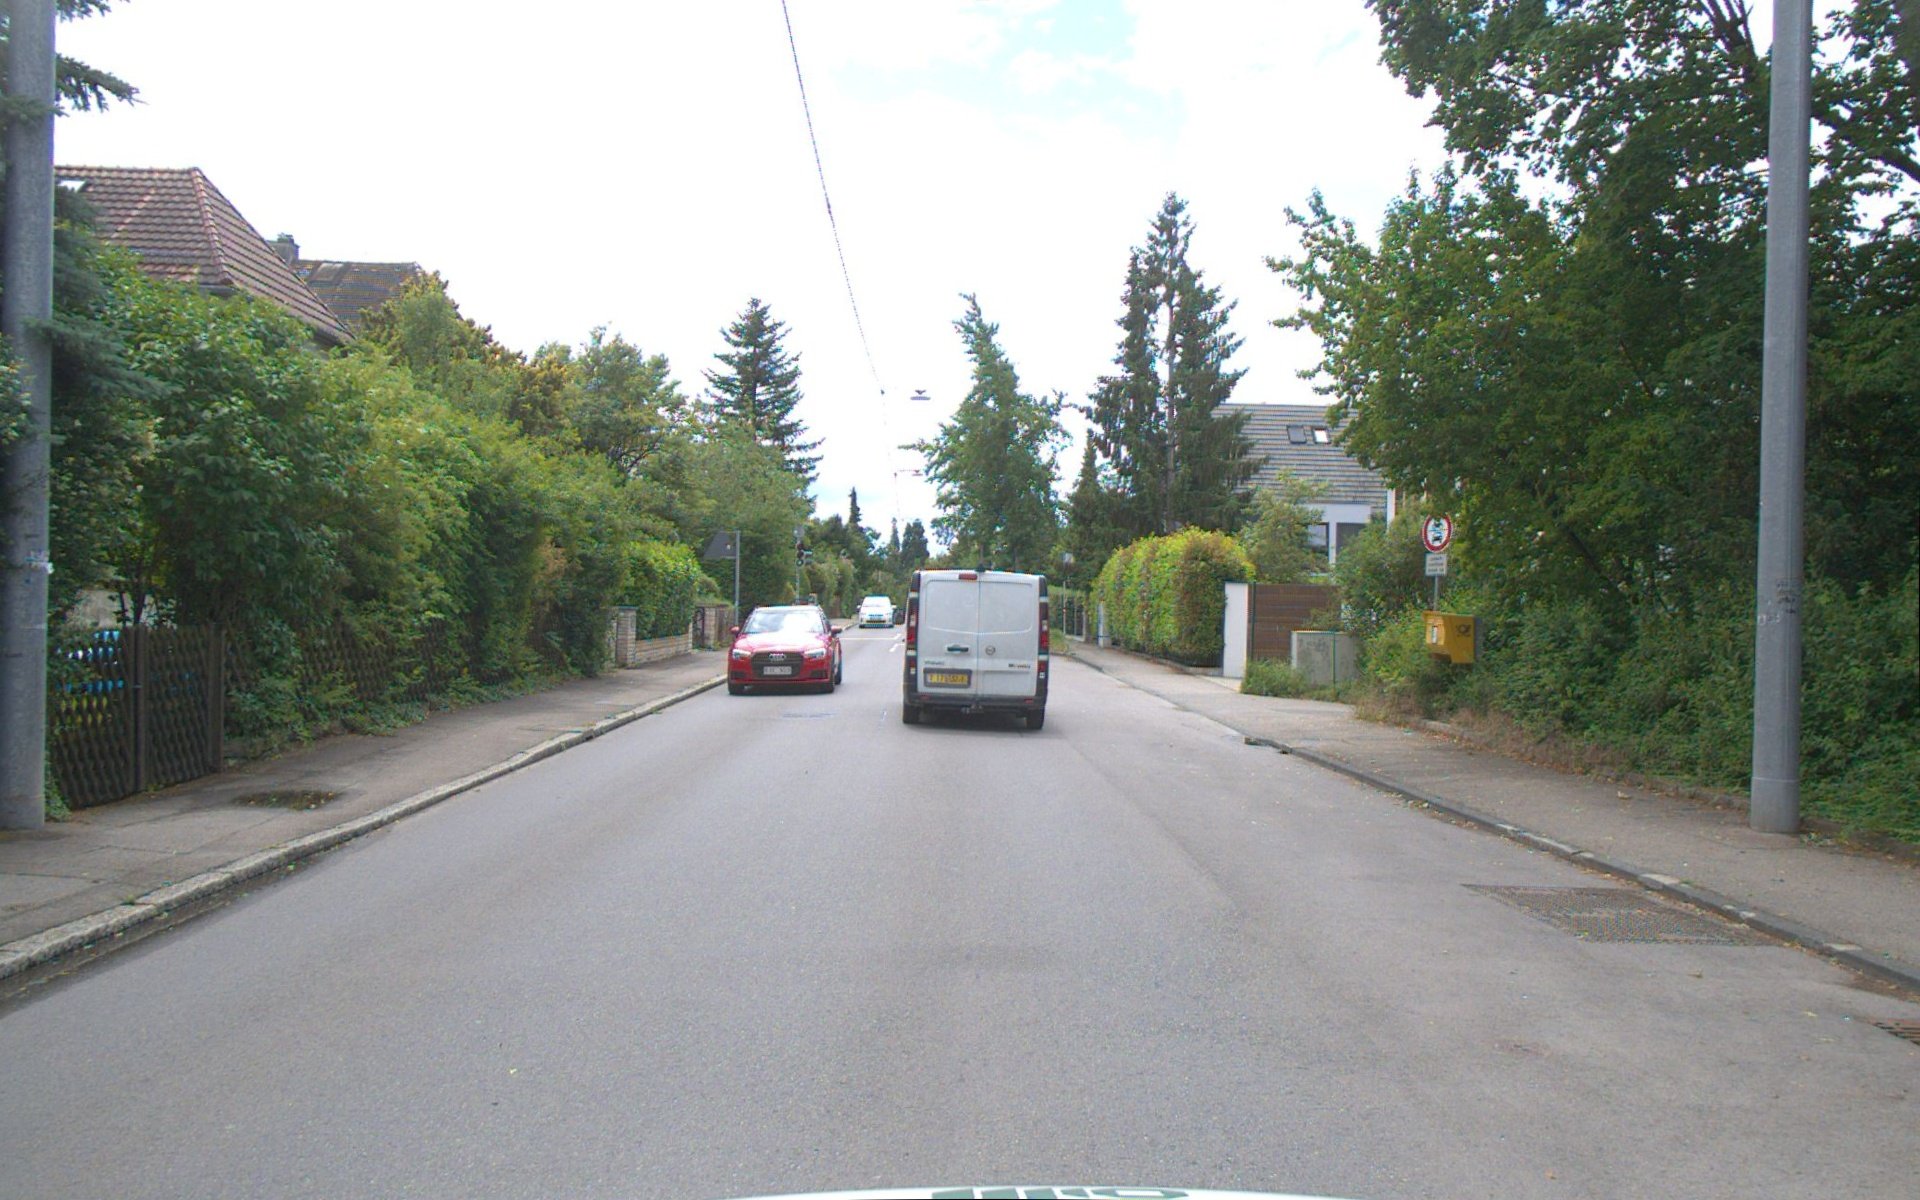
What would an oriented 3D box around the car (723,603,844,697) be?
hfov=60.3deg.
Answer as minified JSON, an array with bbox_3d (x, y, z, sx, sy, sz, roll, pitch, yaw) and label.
[{"bbox_3d":[-2.968,0.823,28.596,1.769,1.456,4.116,-1,0,-2],"label":"car"}]

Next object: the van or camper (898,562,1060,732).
[{"bbox_3d":[0.159,0.639,22.471,1.900,1.988,4.763,2,-2,-2],"label":"van or camper"}]

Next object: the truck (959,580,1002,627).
[{"bbox_3d":[1.133,0.219,96.532,2.143,2.515,7.428,3,0,-1],"label":"truck"}]

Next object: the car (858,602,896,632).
[{"bbox_3d":[-4.152,0.837,83.125,1.817,1.477,4.279,0,0,-3],"label":"car"}]
